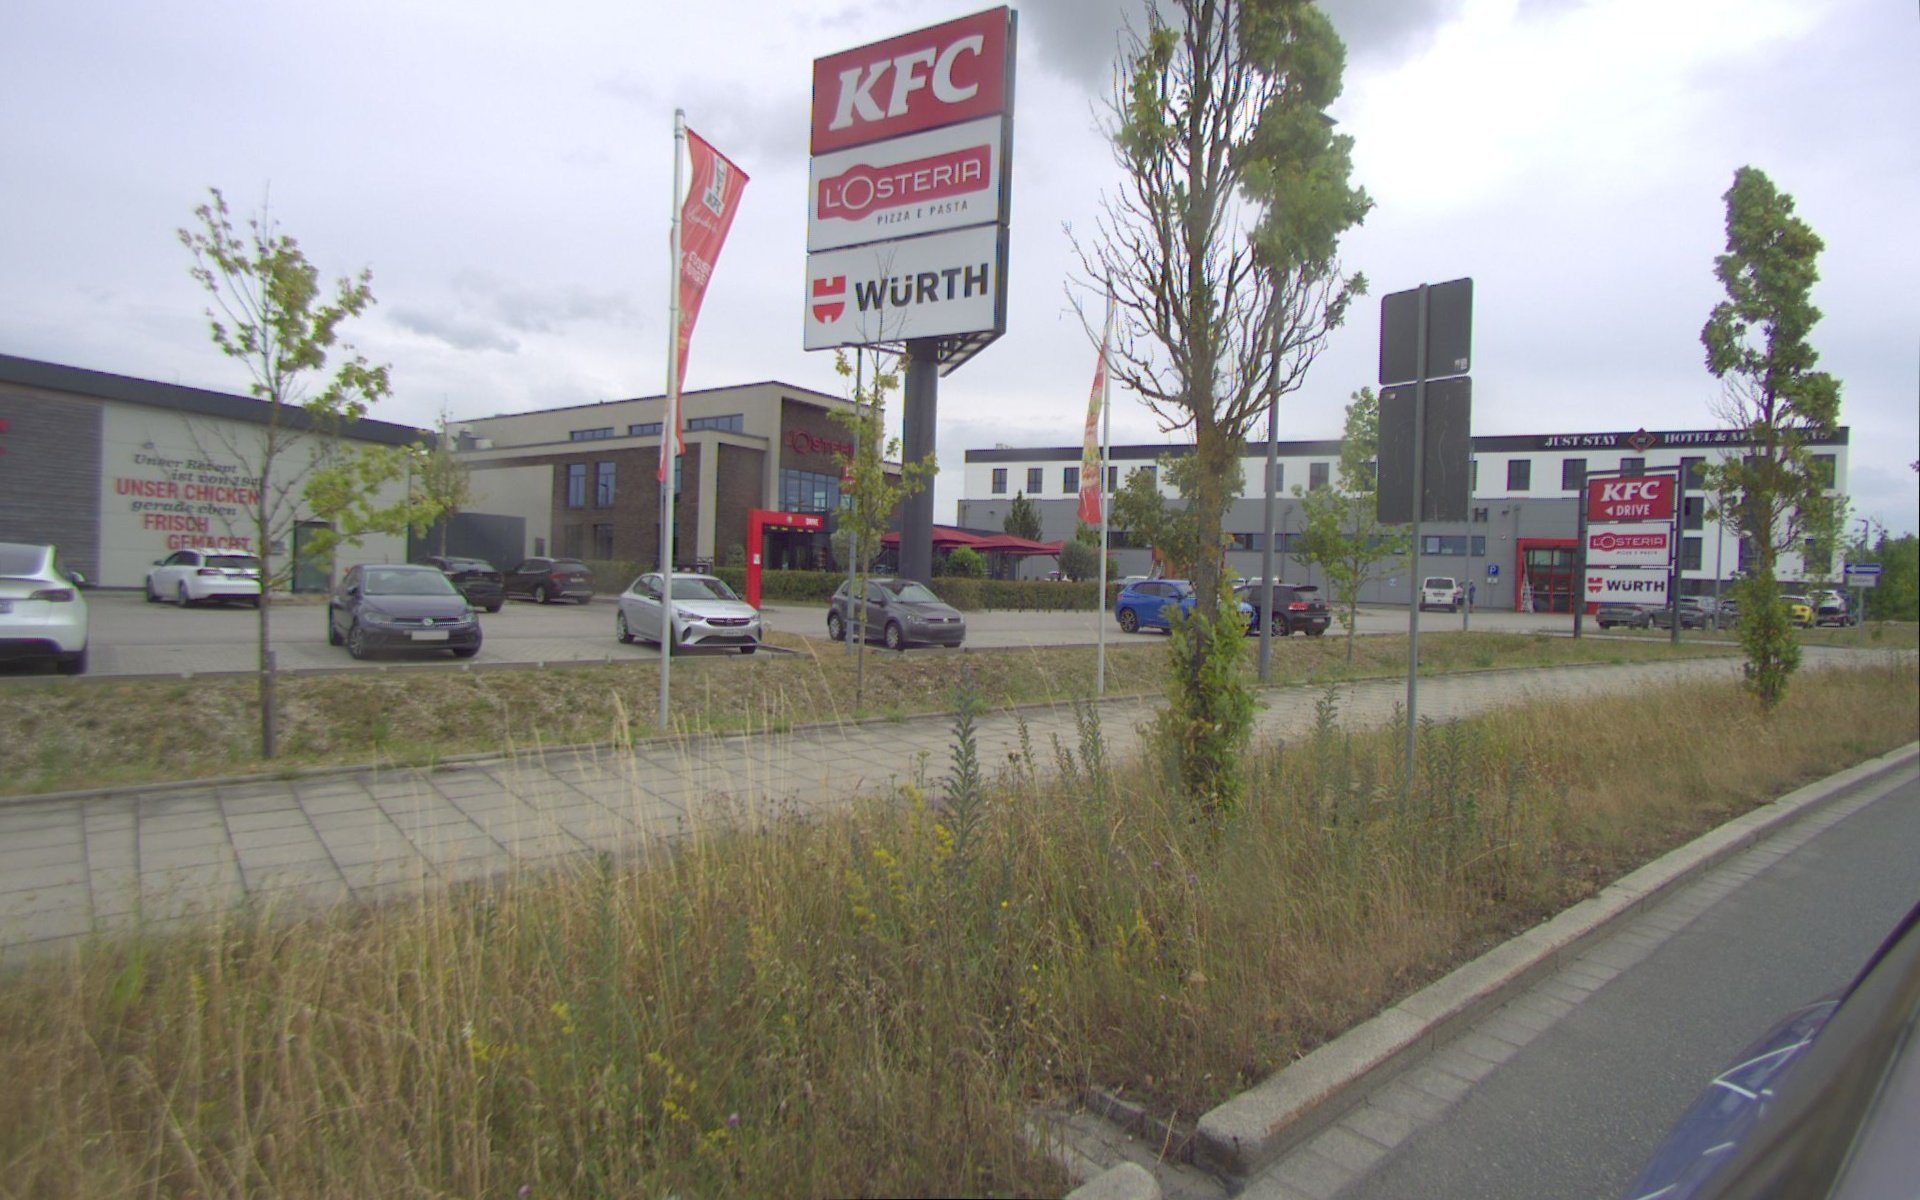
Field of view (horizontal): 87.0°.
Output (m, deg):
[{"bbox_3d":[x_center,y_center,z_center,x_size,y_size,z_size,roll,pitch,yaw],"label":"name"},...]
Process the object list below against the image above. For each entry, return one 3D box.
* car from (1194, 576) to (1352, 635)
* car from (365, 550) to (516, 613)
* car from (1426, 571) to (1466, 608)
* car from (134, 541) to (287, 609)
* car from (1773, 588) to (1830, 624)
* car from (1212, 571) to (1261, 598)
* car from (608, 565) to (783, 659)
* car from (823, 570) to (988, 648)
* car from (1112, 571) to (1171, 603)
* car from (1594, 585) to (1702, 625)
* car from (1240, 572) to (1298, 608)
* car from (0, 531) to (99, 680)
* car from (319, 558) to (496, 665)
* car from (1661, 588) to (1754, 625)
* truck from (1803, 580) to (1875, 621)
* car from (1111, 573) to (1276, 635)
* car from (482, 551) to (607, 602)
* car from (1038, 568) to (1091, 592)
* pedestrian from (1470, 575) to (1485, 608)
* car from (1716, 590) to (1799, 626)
[{"bbox_3d":[8.798,0.116,28.794,1.942,1.512,4.004,1,1,-31],"label":"car"},{"bbox_3d":[-14.672,-0.555,28.481,4.550,1.537,1.952,3,2,36],"label":"car"},{"bbox_3d":[28.033,-0.607,58.483,1.979,2.012,4.597,2,1,25],"label":"car"},{"bbox_3d":[-19.410,-0.671,26.155,4.553,1.537,2.053,4,2,38],"label":"car"},{"bbox_3d":[42.187,0.286,50.699,1.763,1.707,4.340,3,1,45],"label":"car"},{"bbox_3d":[17.683,-0.995,64.591,2.063,1.537,4.531,3,2,28],"label":"car"},{"bbox_3d":[-5.141,0.155,19.341,1.867,1.499,3.874,0,3,-37],"label":"car"},{"bbox_3d":[-1.270,0.137,22.048,1.854,1.512,3.770,1,1,-36],"label":"car"},{"bbox_3d":[10.007,-0.710,55.609,1.967,1.649,4.285,2,1,28],"label":"car"},{"bbox_3d":[27.425,0.200,40.307,4.739,1.478,1.969,1,1,-35],"label":"car"},{"bbox_3d":[15.971,-0.527,52.142,1.981,1.718,4.746,2,1,28],"label":"car"},{"bbox_3d":[-12.592,-0.051,13.075,2.053,1.665,4.569,0,3,-43],"label":"car"},{"bbox_3d":[-9.279,0.095,16.830,1.905,1.503,3.997,0,3,-39],"label":"car"},{"bbox_3d":[32.056,0.284,43.353,4.788,1.455,1.869,1,1,-37],"label":"car"},{"bbox_3d":[54.078,0.047,62.190,8.071,2.354,2.231,1,1,-41],"label":"truck"},{"bbox_3d":[6.344,0.067,27.918,1.927,1.539,4.279,1,1,-33],"label":"car"},{"bbox_3d":[-14.259,-0.812,34.644,4.550,1.537,1.873,3,2,36],"label":"car"},{"bbox_3d":[7.227,-1.360,69.641,2.063,1.537,4.531,3,2,28],"label":"car"},{"bbox_3d":[29.581,-0.492,57.846,0.607,1.892,0.796,1,0,22],"label":"pedestrian"},{"bbox_3d":[37.055,0.350,46.984,4.524,1.515,1.999,-1,2,-38],"label":"car"}]
